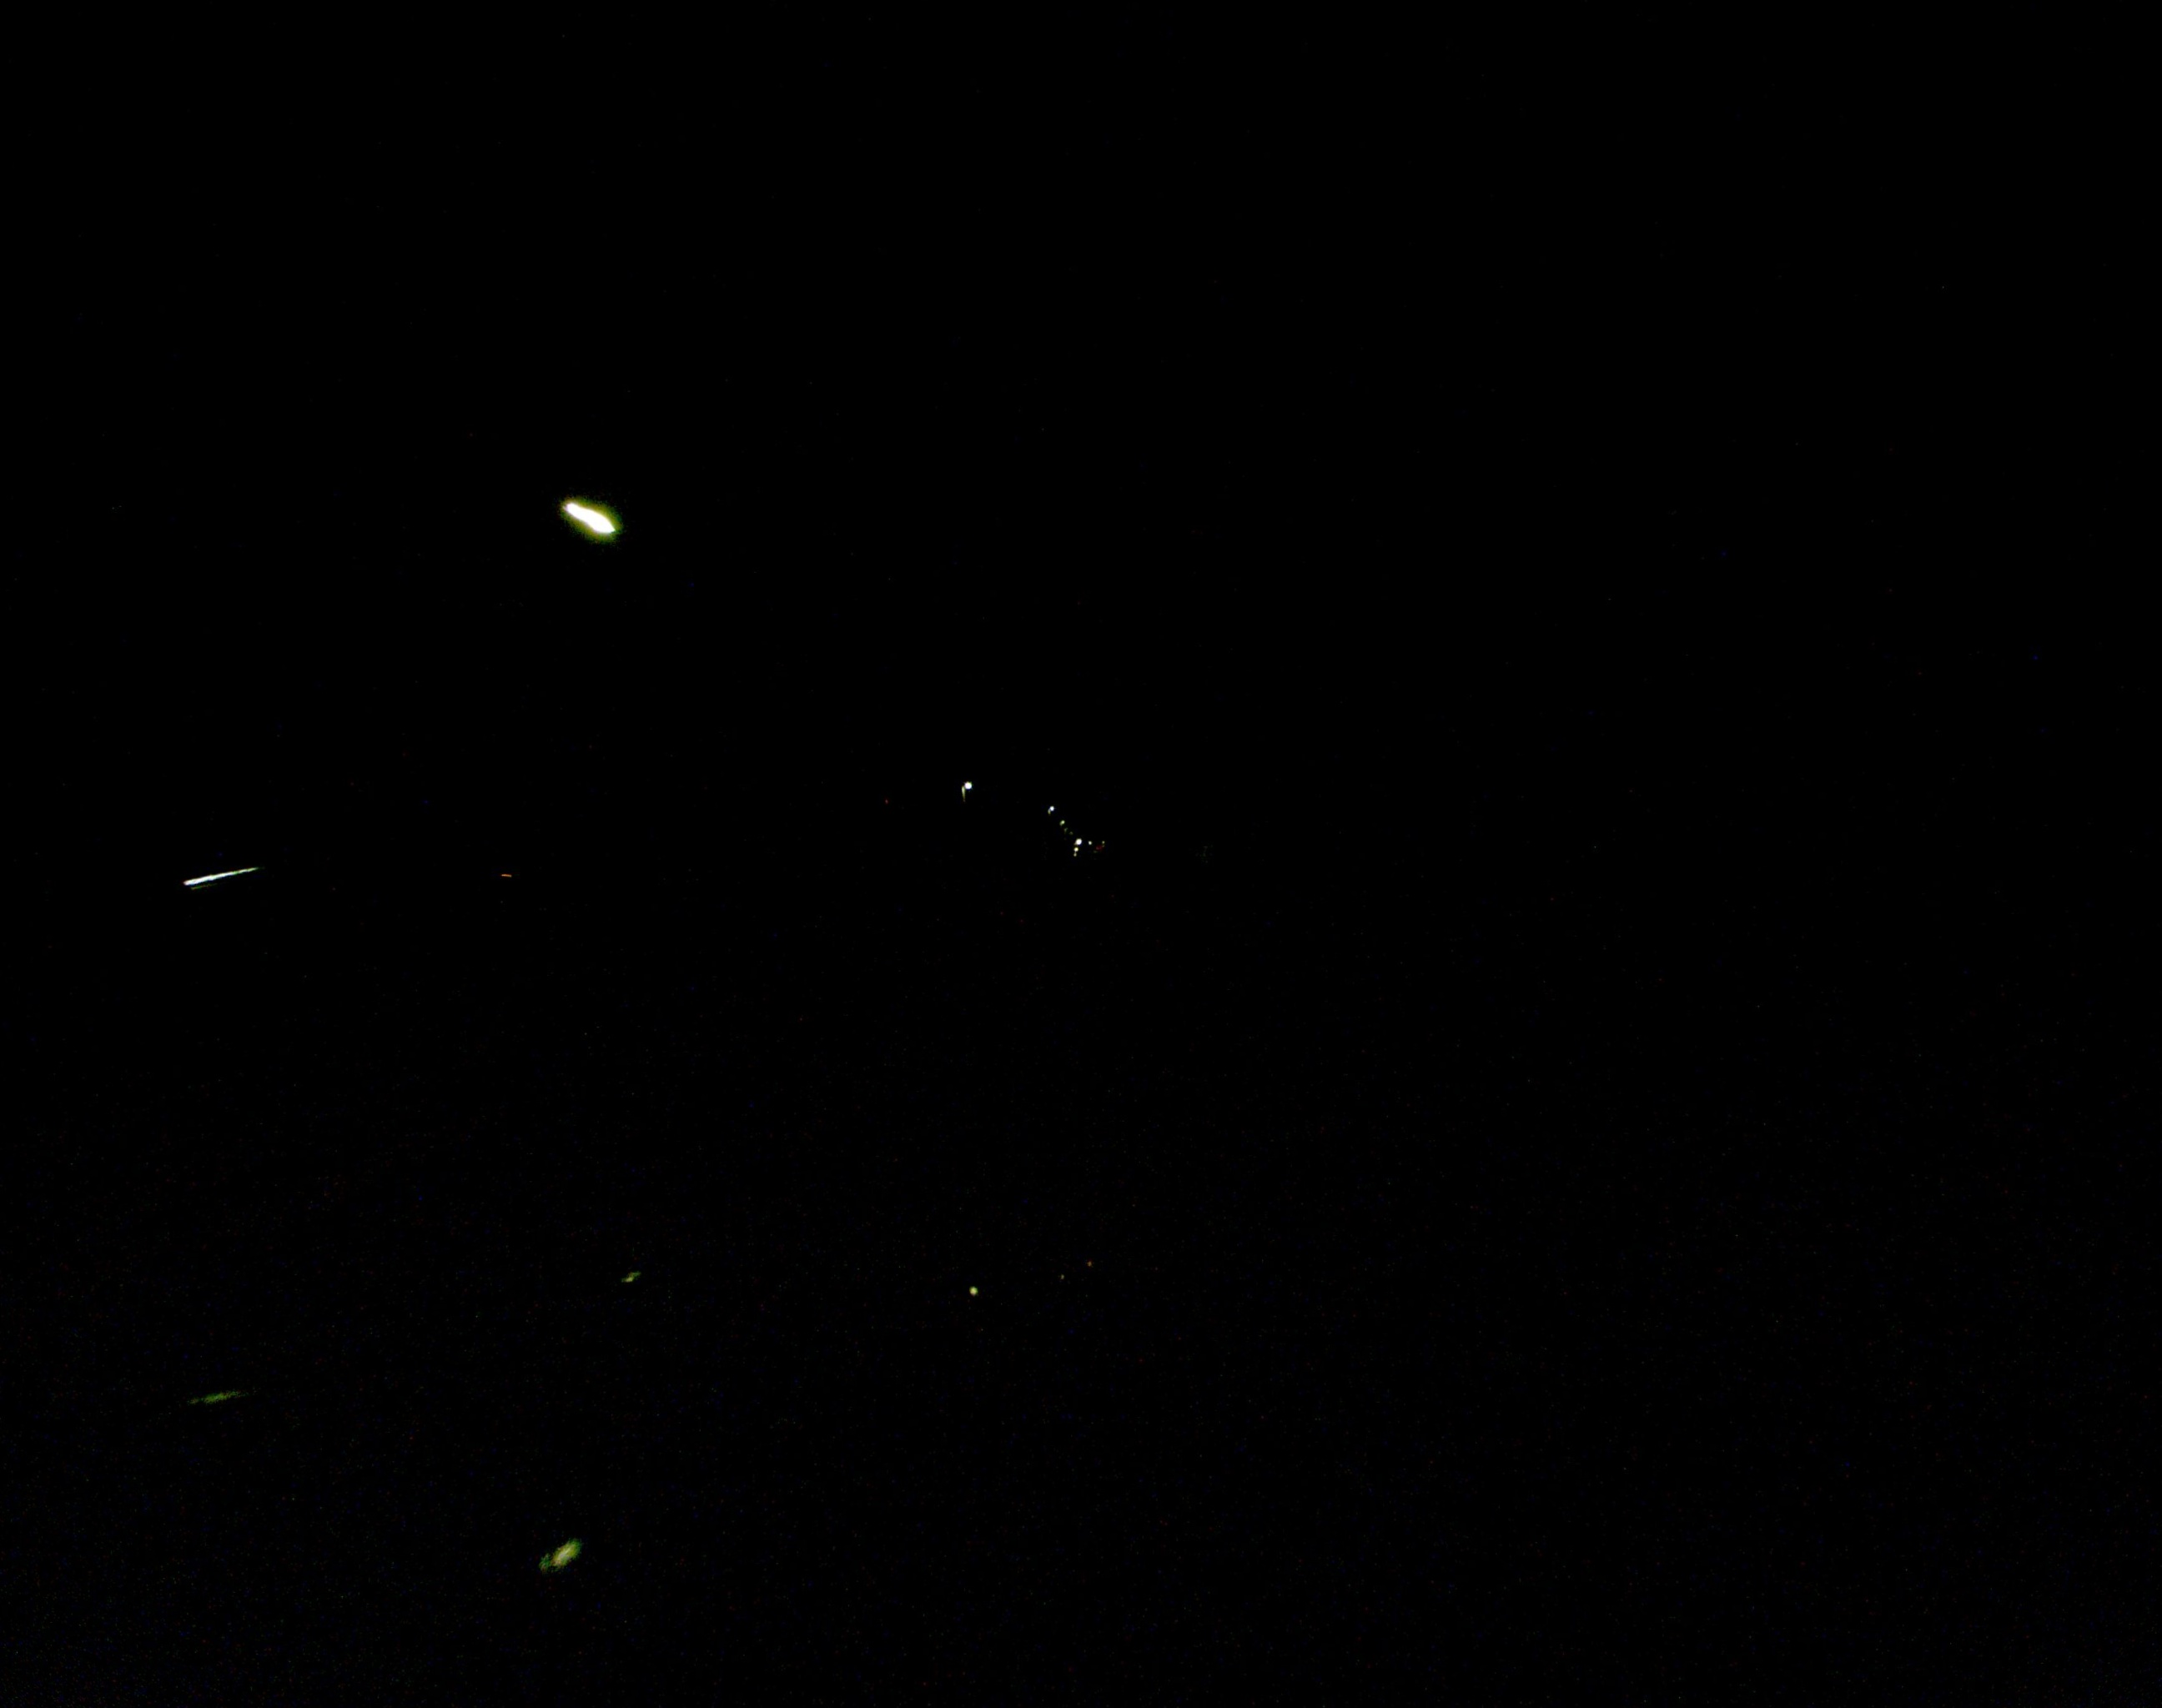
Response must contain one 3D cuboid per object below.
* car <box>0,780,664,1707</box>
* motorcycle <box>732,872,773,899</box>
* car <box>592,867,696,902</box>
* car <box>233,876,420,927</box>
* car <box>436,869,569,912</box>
[{"bbox_3d":[-4.546,0.907,2.346,5.156,1.834,2.259,-3,1,0],"label":"car"},{"bbox_3d":[-14.475,1.367,33.493,1.573,1.128,0.578,-1,1,-18],"label":"motorcycle"},{"bbox_3d":[-18.928,1.290,33.080,3.551,1.362,1.757,-1,1,-14],"label":"car"},{"bbox_3d":[-28.644,1.750,29.092,4.659,1.663,1.928,-1,1,-28],"label":"car"},{"bbox_3d":[-23.746,1.464,31.363,4.006,1.589,1.756,-1,1,-21],"label":"car"}]
